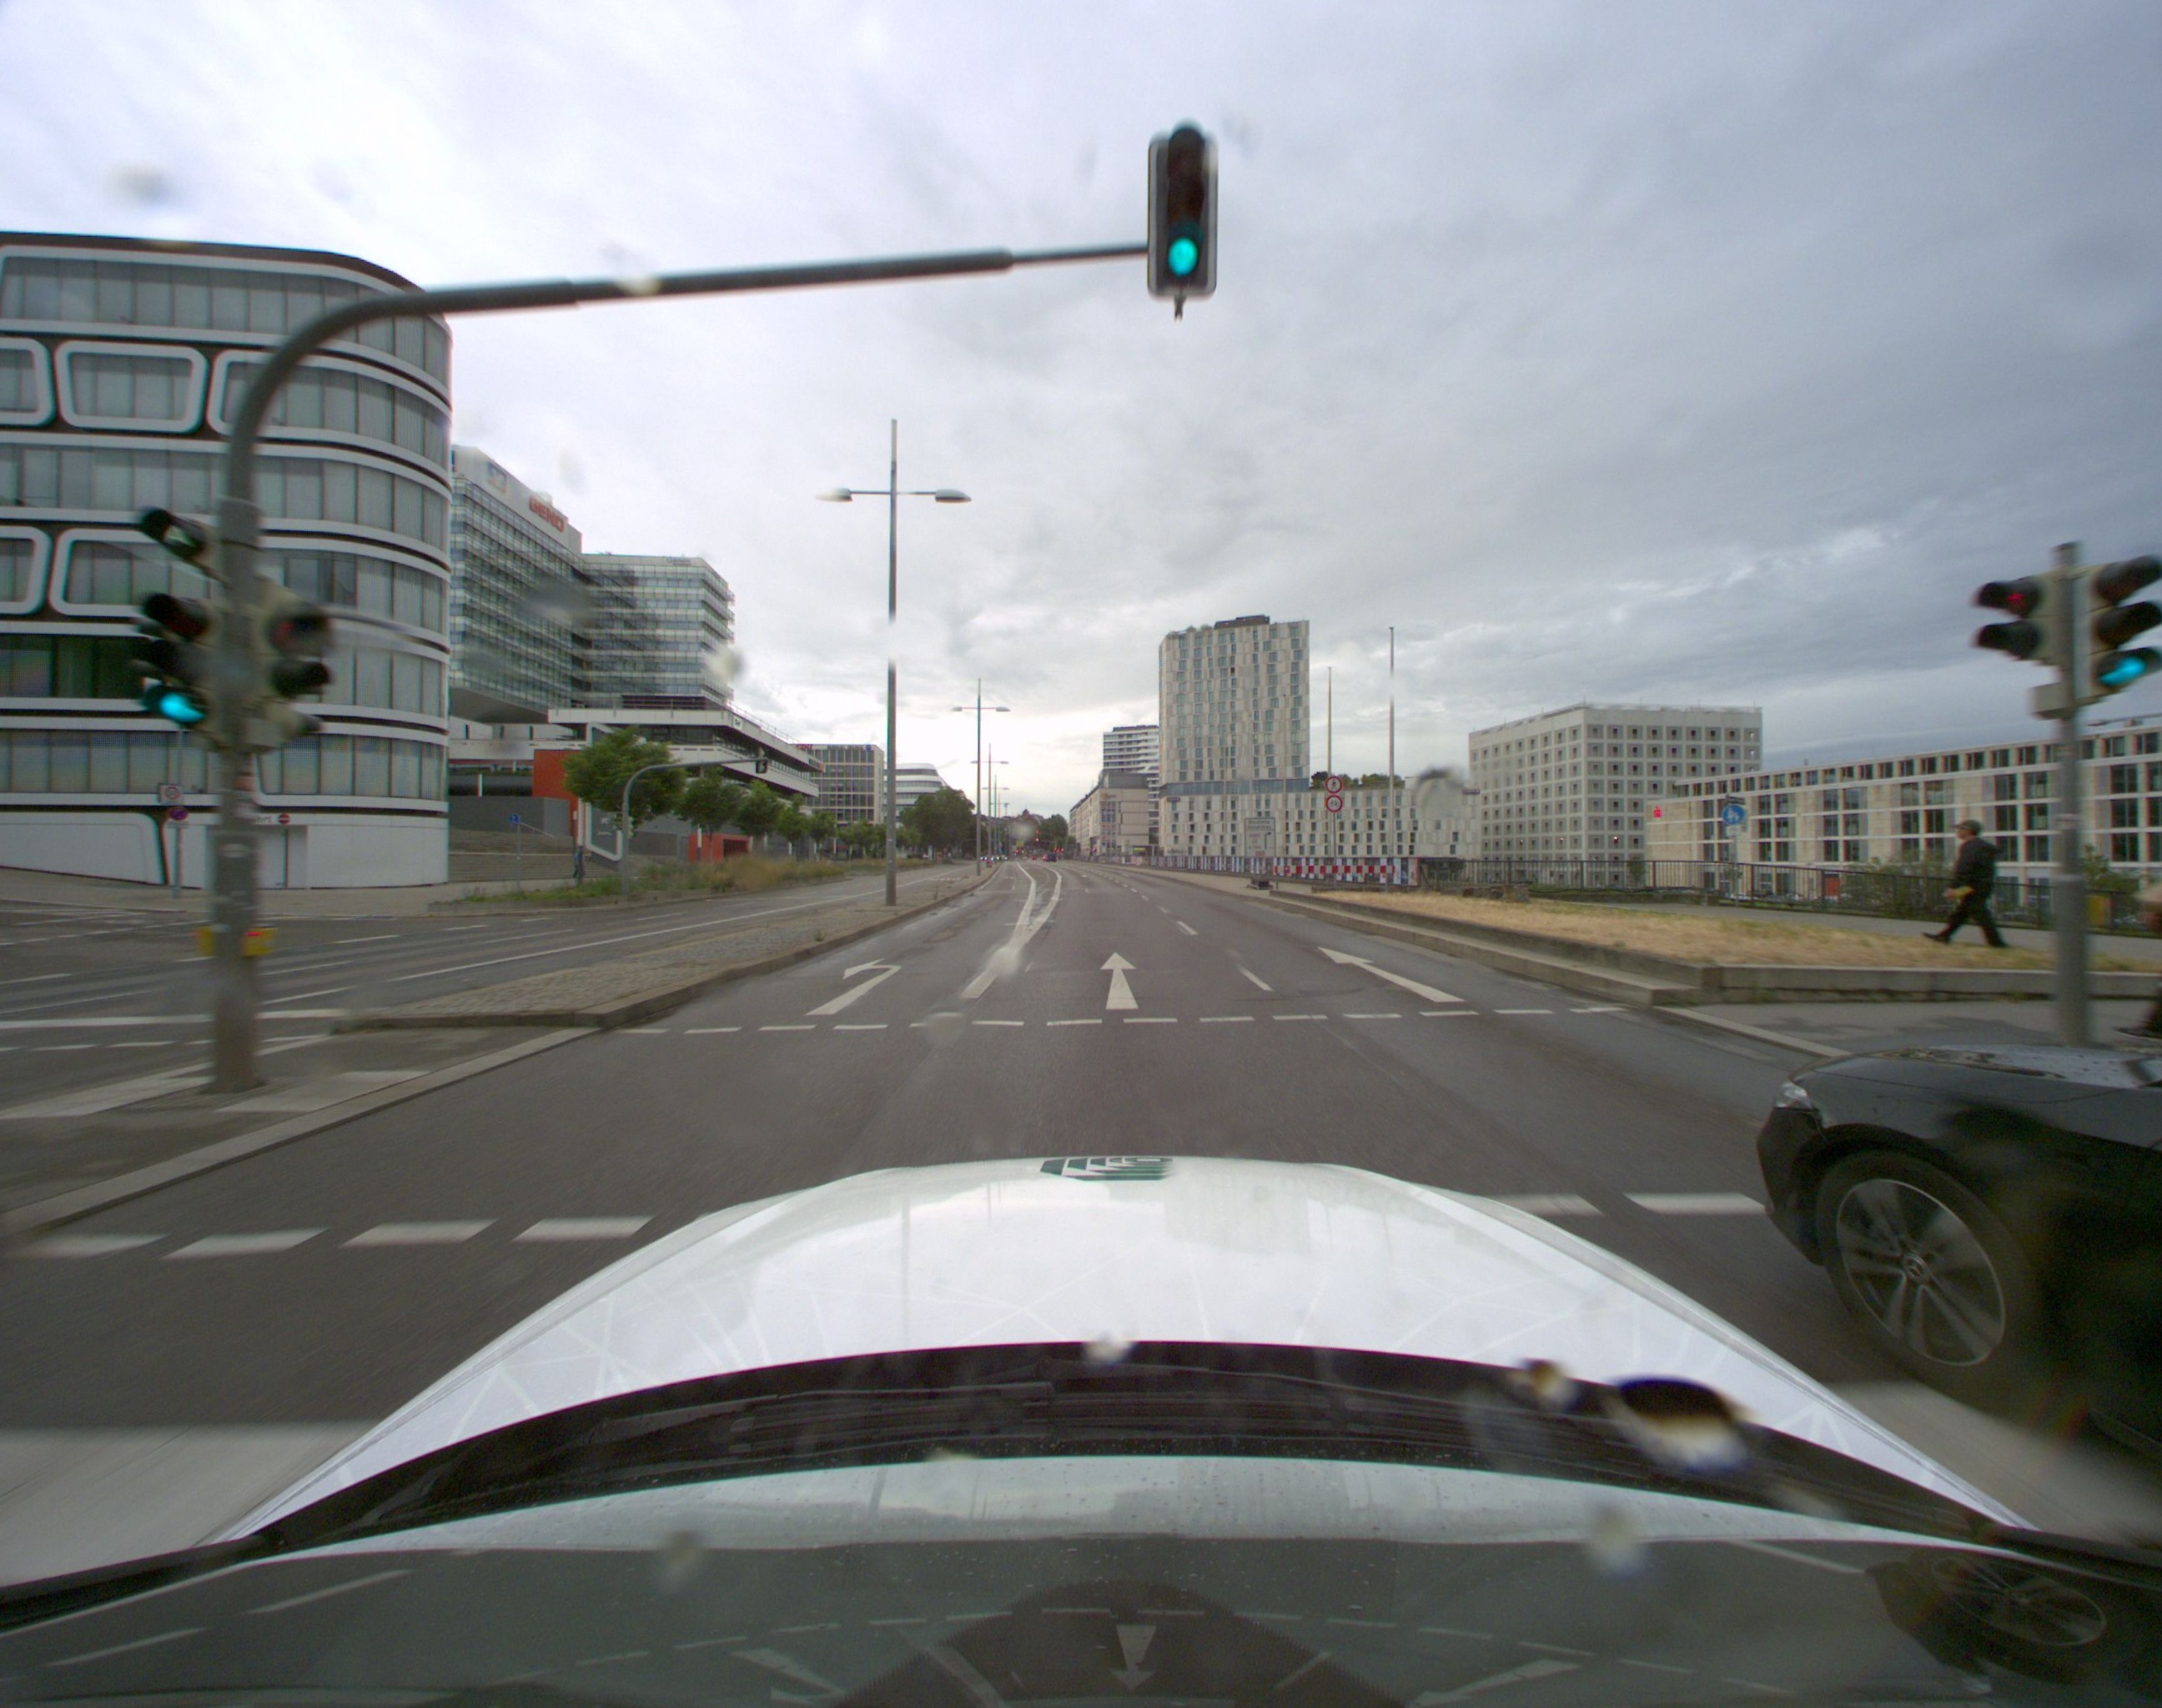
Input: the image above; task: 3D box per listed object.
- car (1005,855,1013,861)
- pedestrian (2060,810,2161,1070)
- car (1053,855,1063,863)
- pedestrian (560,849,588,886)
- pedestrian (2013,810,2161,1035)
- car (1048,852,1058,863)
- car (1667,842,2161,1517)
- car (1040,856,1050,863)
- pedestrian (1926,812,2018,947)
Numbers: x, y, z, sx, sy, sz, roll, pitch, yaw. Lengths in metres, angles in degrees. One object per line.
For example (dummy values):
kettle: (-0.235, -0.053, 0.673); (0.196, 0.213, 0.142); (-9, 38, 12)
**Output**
car: (-21.028, 1.198, 238.161); (1.986, 1.782, 4.001); (-1, 1, 1)
pedestrian: (6.771, 0.510, 5.176); (0.544, 1.578, 0.675); (-1, 1, 36)
car: (-5.998, 1.264, 210.894); (1.984, 1.815, 4.006); (-1, 1, 5)
pedestrian: (-28.287, 0.730, 45.427); (1.026, 2.013, 0.716); (-1, 1, 0)
pedestrian: (7.543, 0.473, 6.134); (0.544, 1.578, 0.675); (-1, 1, 36)
car: (-6.286, 0.833, 181.986); (1.986, 2.343, 4.001); (0, 0, 1)
car: (3.296, 0.747, 1.247); (1.866, 1.436, 4.207); (-1, 2, 1)
car: (-9.320, 1.404, 208.547); (1.984, 1.815, 4.006); (-1, 1, 5)
pedestrian: (10.928, 0.293, 10.013); (0.662, 1.578, 0.673); (-1, 1, 39)
